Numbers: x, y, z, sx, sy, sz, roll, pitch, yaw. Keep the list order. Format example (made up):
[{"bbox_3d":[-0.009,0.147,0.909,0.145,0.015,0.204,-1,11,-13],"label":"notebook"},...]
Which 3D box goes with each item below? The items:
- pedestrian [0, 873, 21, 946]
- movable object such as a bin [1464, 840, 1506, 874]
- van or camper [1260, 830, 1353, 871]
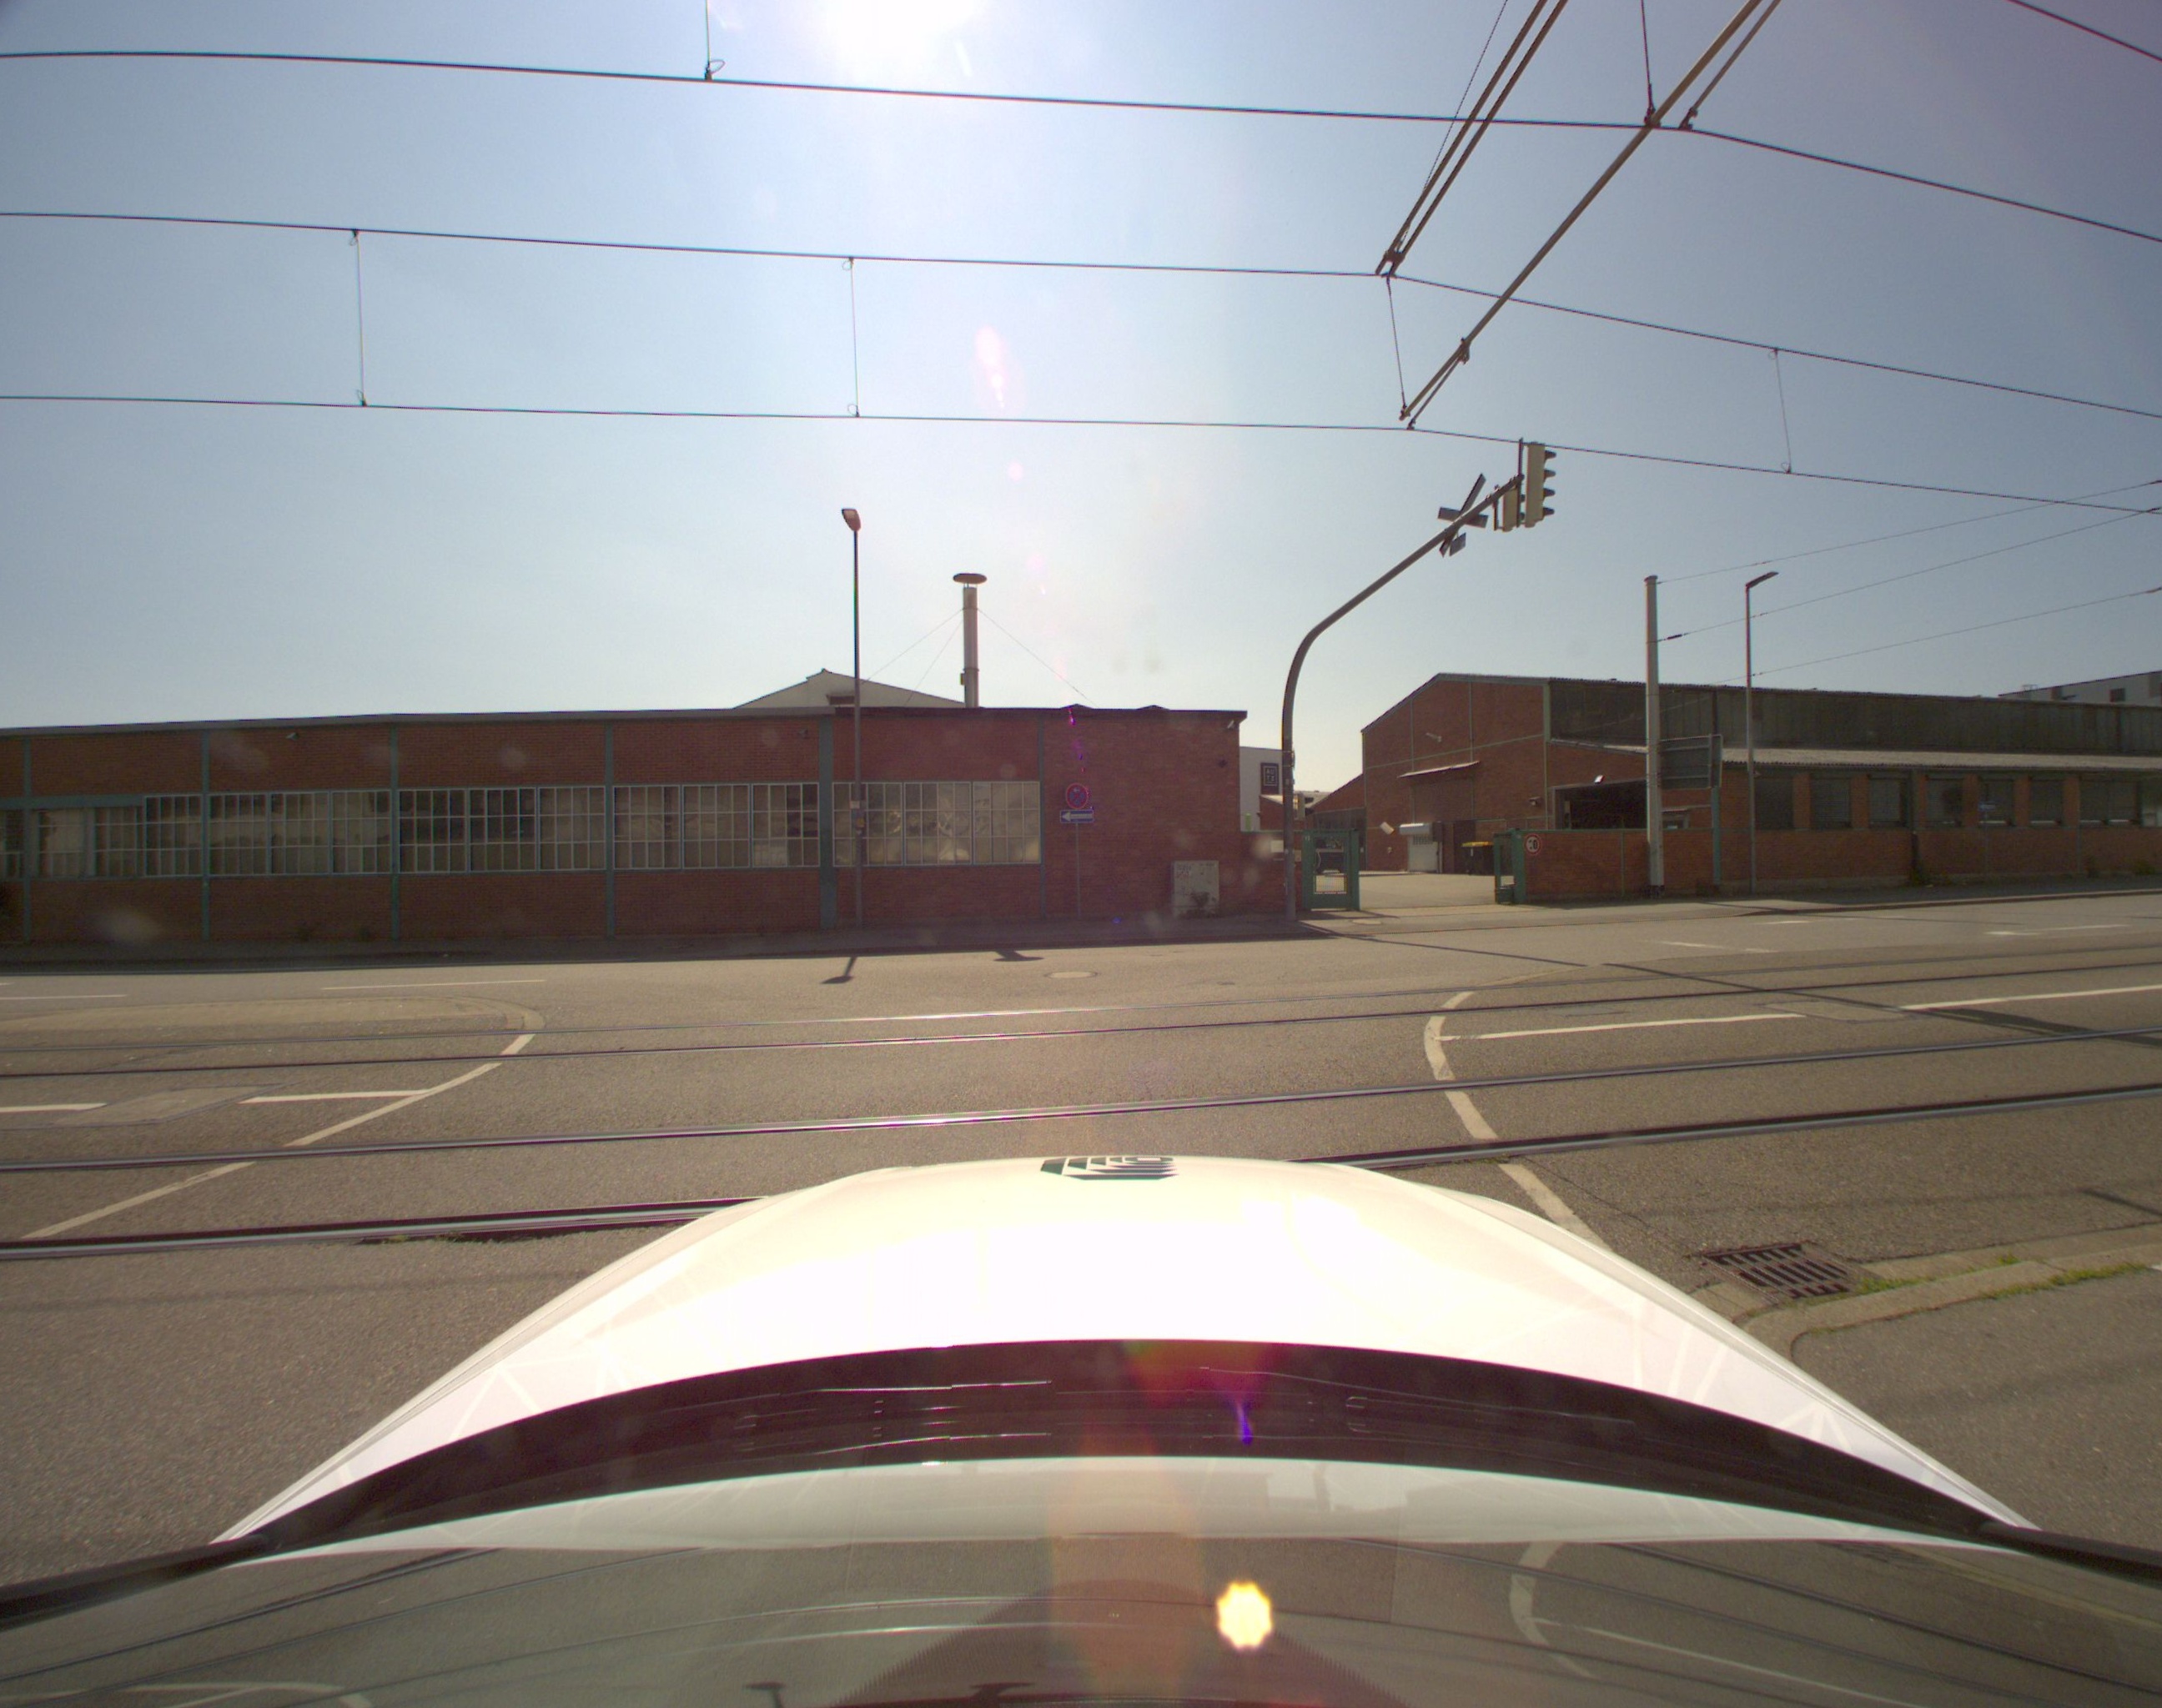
[{"bbox_3d":[-26.404,1.344,19.741,0.445,1.765,0.688,1,-1,12],"label":"pedestrian"},{"bbox_3d":[16.248,0.127,32.775,0.975,1.314,1.147,-2,0,-12],"label":"movable object such as a bin"},{"bbox_3d":[11.301,-0.151,40.712,4.436,1.900,1.980,1,-1,-32],"label":"van or camper"}]
